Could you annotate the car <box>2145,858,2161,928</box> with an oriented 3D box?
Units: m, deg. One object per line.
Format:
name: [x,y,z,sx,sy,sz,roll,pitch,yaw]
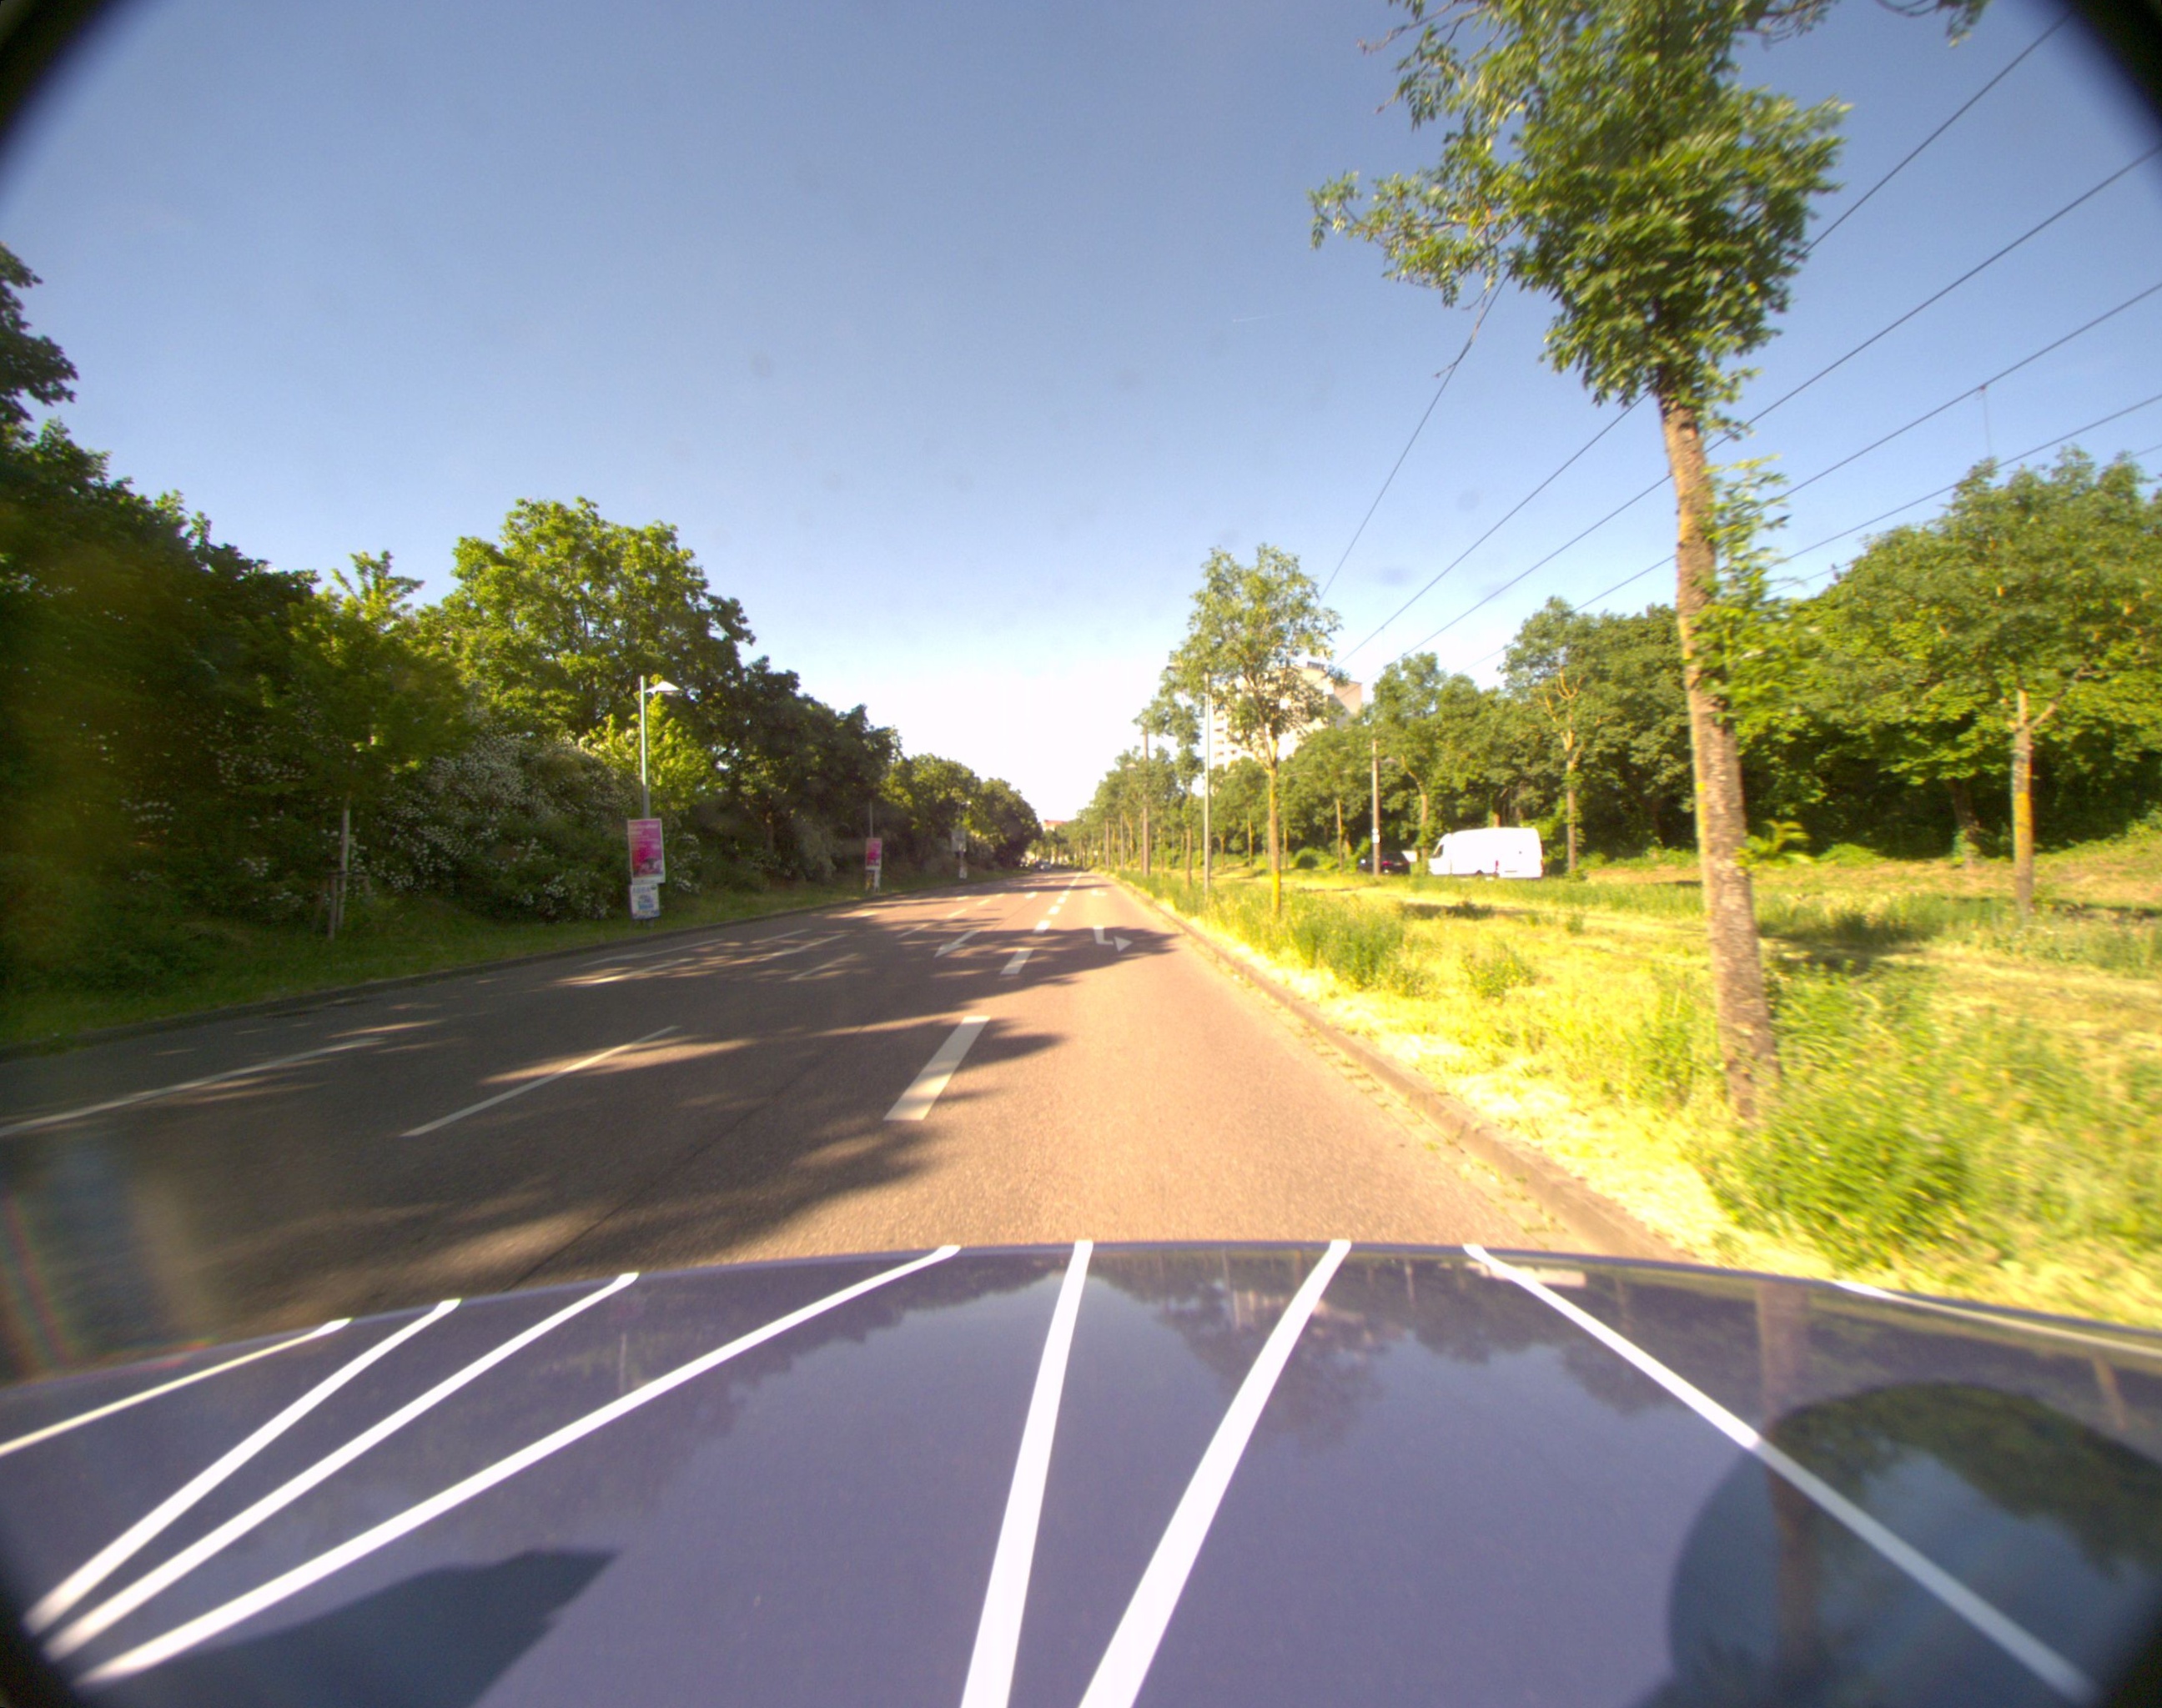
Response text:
car: [21.004,0.704,12.354,1.802,1.285,4.000,-2,0,0]

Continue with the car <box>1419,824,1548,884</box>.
car: [17.721,-0.020,34.004,2.045,2.355,6.879,-2,0,-1]

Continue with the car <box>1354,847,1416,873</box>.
car: [20.107,0.399,50.573,1.998,1.575,5.272,-2,0,0]

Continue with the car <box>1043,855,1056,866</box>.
car: [-4.995,0.993,119.327,1.673,1.531,4.060,-4,0,1]
